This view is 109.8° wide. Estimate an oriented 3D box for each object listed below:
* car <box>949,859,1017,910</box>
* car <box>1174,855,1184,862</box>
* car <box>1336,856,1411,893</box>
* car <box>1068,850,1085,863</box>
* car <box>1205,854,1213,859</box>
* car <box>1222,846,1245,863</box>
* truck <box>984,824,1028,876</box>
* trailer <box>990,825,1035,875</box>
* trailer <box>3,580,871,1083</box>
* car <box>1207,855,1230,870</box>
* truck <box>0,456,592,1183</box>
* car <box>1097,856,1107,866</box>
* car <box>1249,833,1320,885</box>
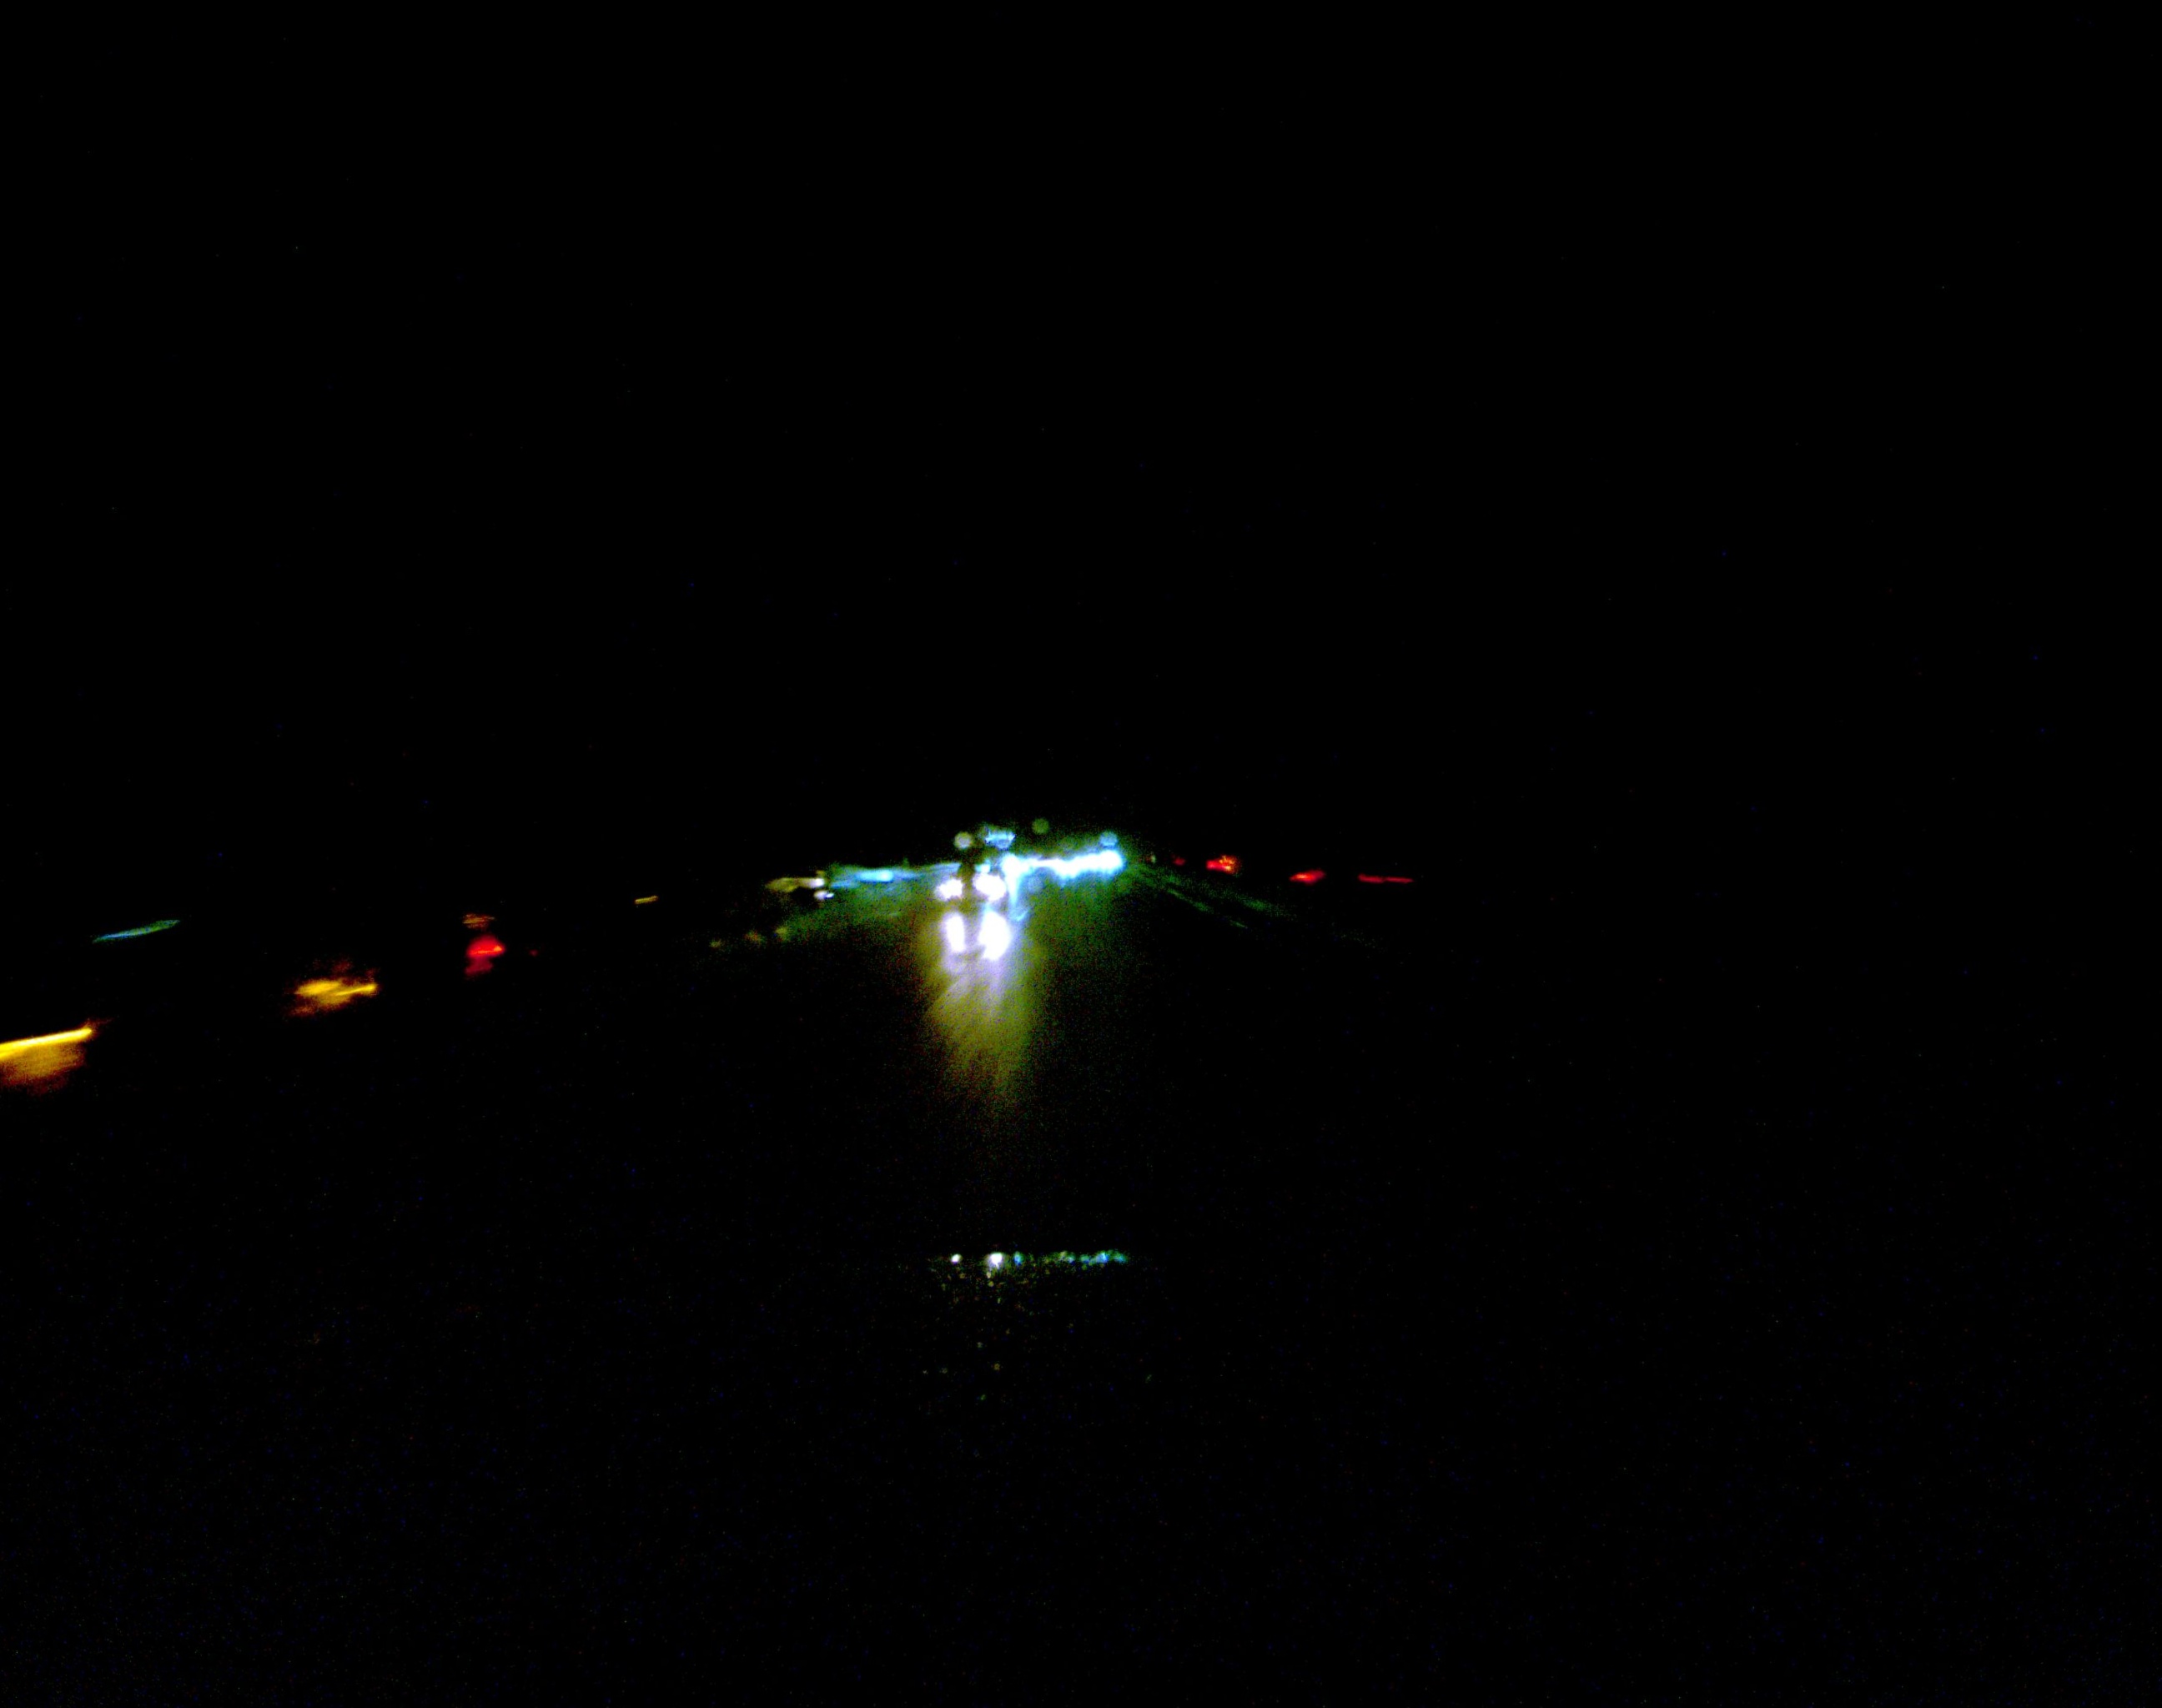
[{"bbox_3d":[-3.194,0.951,25.365,1.619,1.494,3.767,-2,0,2],"label":"car"},{"bbox_3d":[22.215,0.964,172.538,1.786,1.471,4.509,1,0,2],"label":"car"},{"bbox_3d":[13.512,0.898,35.401,1.789,1.517,4.380,-2,0,0],"label":"car"},{"bbox_3d":[-0.556,0.272,93.090,1.945,1.521,4.000,-2,0,2],"label":"car"},{"bbox_3d":[39.795,0.761,236.252,1.786,1.471,4.509,1,0,2],"label":"car"},{"bbox_3d":[23.719,0.109,118.331,2.387,2.428,7.148,1,0,2],"label":"car"},{"bbox_3d":[-6.328,-0.319,65.032,2.778,4.168,6.016,-2,0,2],"label":"truck"},{"bbox_3d":[-6.182,-0.357,70.489,2.753,4.168,11.180,-2,0,2],"label":"trailer"},{"bbox_3d":[-7.234,-0.215,13.124,2.872,4.073,13.641,-2,0,2],"label":"trailer"},{"bbox_3d":[14.216,0.839,78.856,1.738,1.499,3.795,1,0,1],"label":"car"},{"bbox_3d":[-7.442,-0.168,5.544,2.866,4.079,7.014,-2,0,2],"label":"truck"},{"bbox_3d":[3.418,1.130,124.569,1.619,1.452,3.767,-2,0,2],"label":"car"},{"bbox_3d":[8.630,0.180,32.554,1.789,2.002,4.380,-2,0,0],"label":"car"}]
